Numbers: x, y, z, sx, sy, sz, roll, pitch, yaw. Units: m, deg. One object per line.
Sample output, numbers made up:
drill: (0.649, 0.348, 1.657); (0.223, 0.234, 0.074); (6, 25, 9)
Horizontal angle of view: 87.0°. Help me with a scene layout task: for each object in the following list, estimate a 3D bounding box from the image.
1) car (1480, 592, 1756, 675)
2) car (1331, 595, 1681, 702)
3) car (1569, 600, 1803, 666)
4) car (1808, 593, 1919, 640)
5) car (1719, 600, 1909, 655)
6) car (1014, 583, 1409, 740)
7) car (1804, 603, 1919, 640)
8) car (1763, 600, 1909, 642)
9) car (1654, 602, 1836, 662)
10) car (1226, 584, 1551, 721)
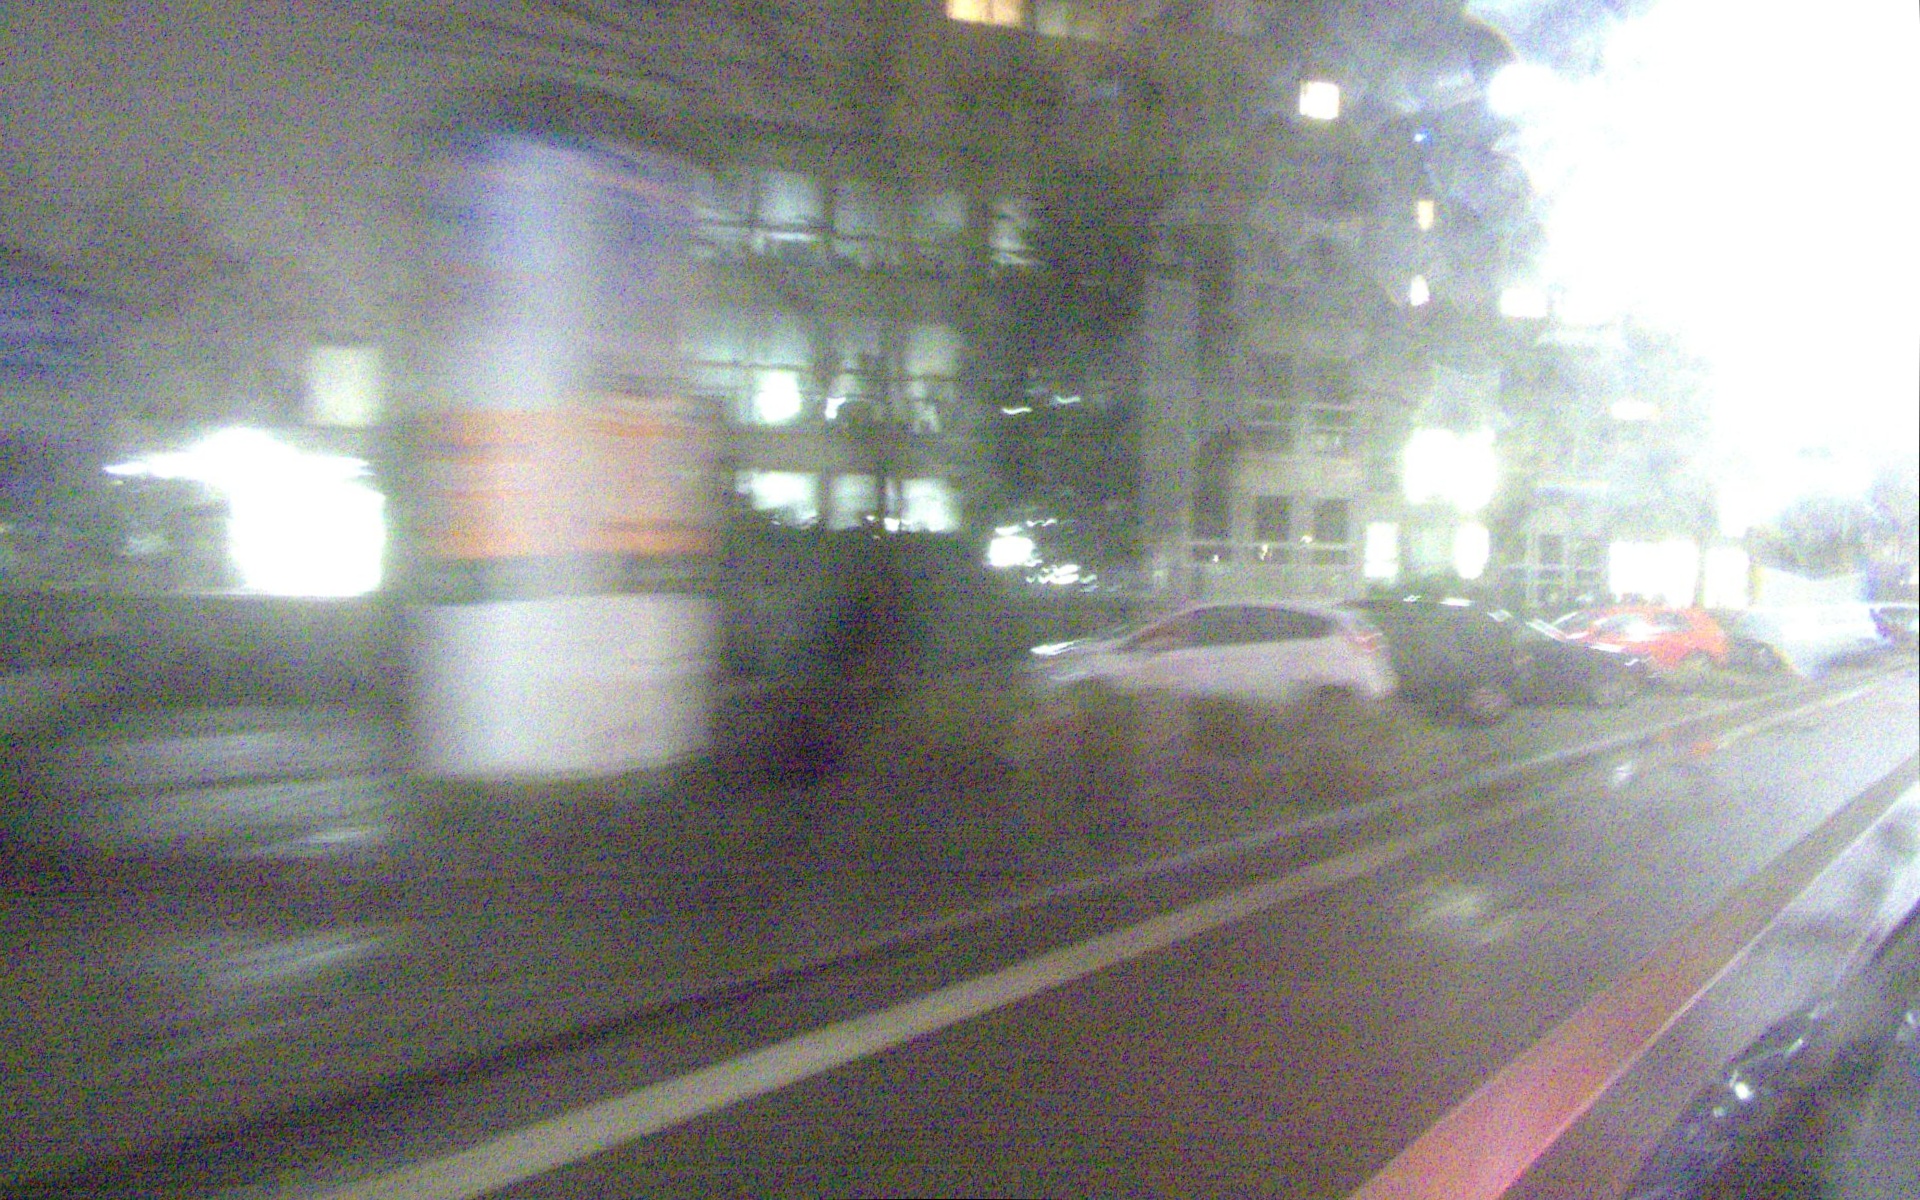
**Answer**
car: (12.431, 0.629, 19.308); (4.108, 1.501, 1.662); (0, -1, 1)
car: (7.914, 0.659, 15.052); (4.185, 1.435, 1.781); (0, 0, 8)
car: (16.758, 0.738, 23.522); (4.091, 1.463, 1.652); (0, 0, 7)
car: (36.657, 0.647, 40.447); (3.897, 1.793, 1.664); (0, 0, 13)
car: (25.271, 0.784, 30.067); (3.945, 1.547, 1.797); (0, 0, 7)
car: (2.521, 0.593, 10.892); (3.835, 1.531, 1.711); (0, 0, 3)
car: (32.316, 0.757, 36.224); (2.890, 1.238, 1.507); (0, 0, 2)
car: (33.704, 0.788, 39.043); (3.912, 1.527, 1.608); (0, 0, 23)
car: (21.641, 0.856, 28.004); (3.601, 1.547, 1.715); (0, 0, 4)
car: (5.288, 0.597, 12.941); (3.517, 1.490, 1.648); (2, 1, 12)
